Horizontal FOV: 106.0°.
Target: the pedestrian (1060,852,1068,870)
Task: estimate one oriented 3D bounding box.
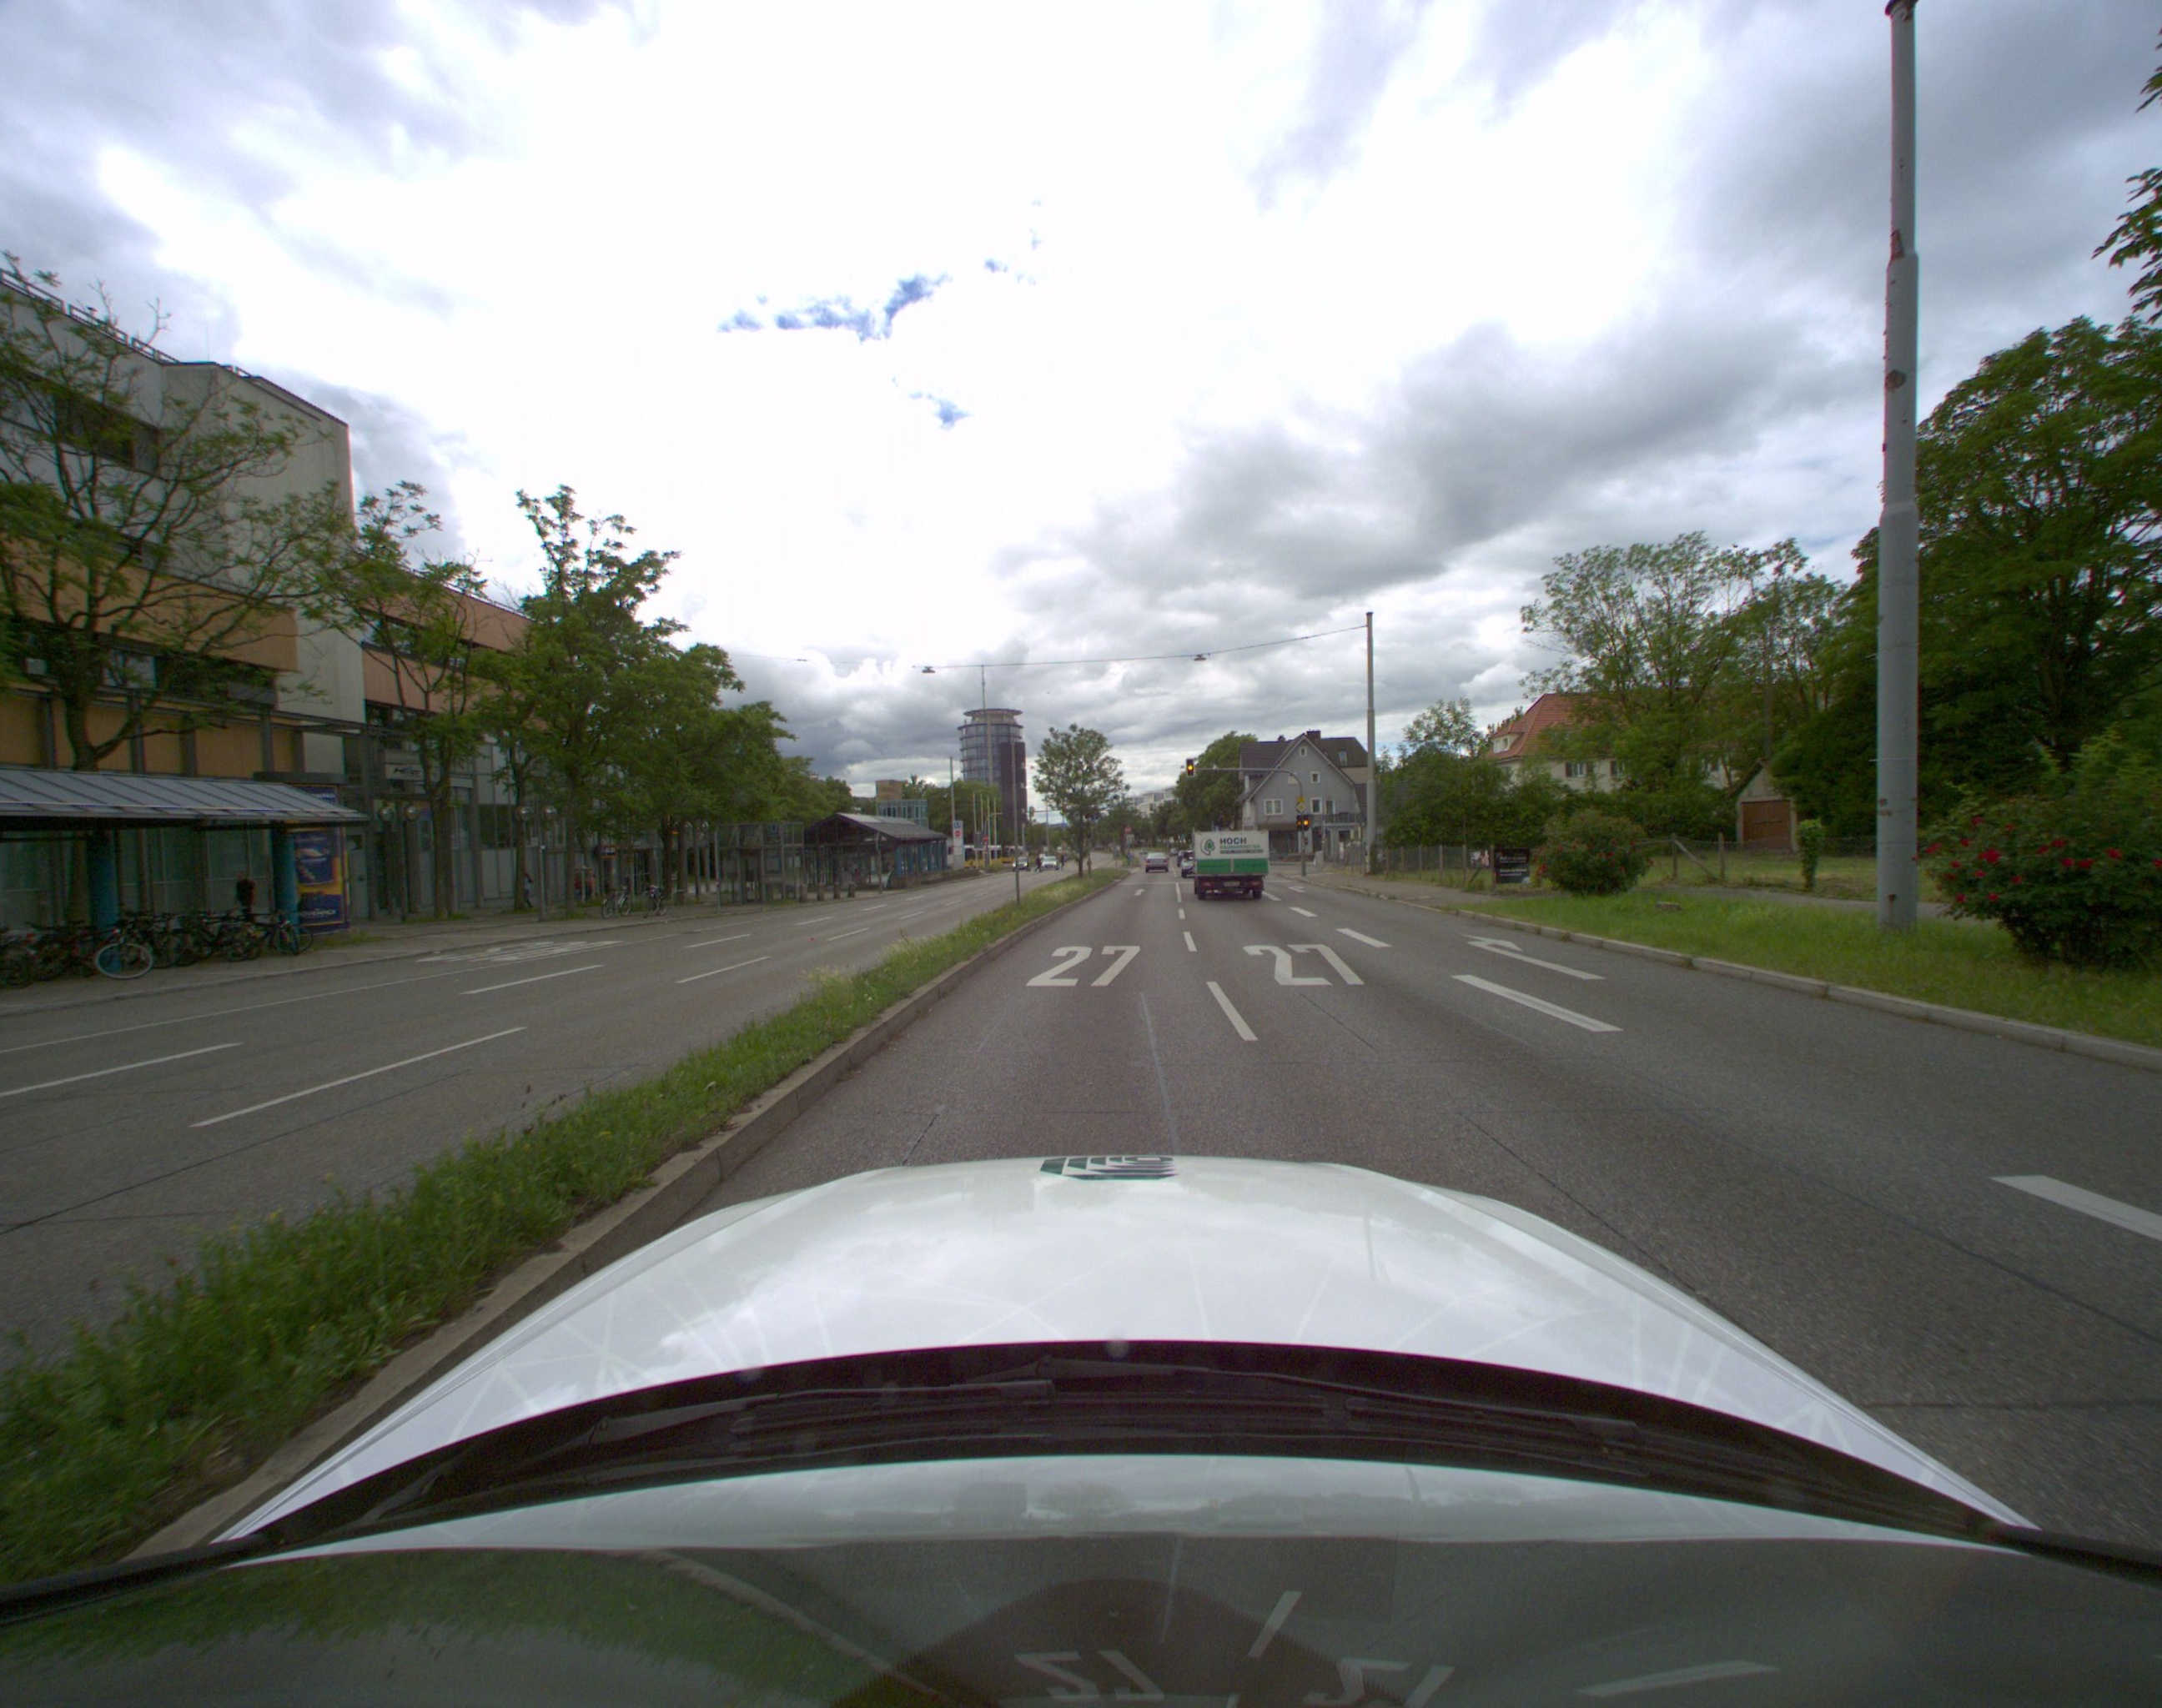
[{"bbox_3d":[-1.647,0.696,78.169,0.743,1.716,0.582,-2,-1,-1],"label":"pedestrian"}]

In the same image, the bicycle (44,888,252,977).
[{"bbox_3d":[-18.001,1.499,15.763,2.892,1.506,0.805,-2,0,-3],"label":"bicycle"}]

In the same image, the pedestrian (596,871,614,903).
[{"bbox_3d":[-24.969,1.722,42.721,0.515,1.589,0.680,-2,0,-2],"label":"pedestrian"}]

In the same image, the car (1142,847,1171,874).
[{"bbox_3d":[5.431,0.468,58.290,1.983,1.830,4.007,0,0,6],"label":"car"}]

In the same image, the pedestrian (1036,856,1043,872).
[{"bbox_3d":[-3.965,0.964,78.488,0.541,1.496,0.487,-2,-1,2],"label":"pedestrian"}]

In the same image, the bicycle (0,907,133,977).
[{"bbox_3d":[-19.201,1.609,14.770,2.892,1.112,0.805,-2,0,-3],"label":"bicycle"}]

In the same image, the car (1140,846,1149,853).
[{"bbox_3d":[15.334,-1.127,197.765,1.985,1.519,4.003,-3,0,3],"label":"car"}]

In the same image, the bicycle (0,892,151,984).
[{"bbox_3d":[-18.117,1.447,14.169,2.890,1.506,0.811,0,0,-1],"label":"bicycle"}]

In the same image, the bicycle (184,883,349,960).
[{"bbox_3d":[-18.074,1.484,18.116,2.892,1.506,0.598,-2,0,-3],"label":"bicycle"}]

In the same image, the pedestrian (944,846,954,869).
[{"bbox_3d":[-11.600,0.319,71.398,0.678,2.013,0.646,-2,-1,2],"label":"pedestrian"}]

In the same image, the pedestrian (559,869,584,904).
[{"bbox_3d":[-24.472,1.557,39.099,0.633,1.586,0.824,-3,0,-4],"label":"pedestrian"}]

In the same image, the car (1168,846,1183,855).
[{"bbox_3d":[17.285,-0.565,148.854,1.989,1.552,3.996,-3,0,-3],"label":"car"}]

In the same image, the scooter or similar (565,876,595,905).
[{"bbox_3d":[-23.257,1.674,37.834,0.477,1.267,1.291,0,0,8],"label":"scooter or similar"}]

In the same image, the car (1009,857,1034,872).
[{"bbox_3d":[-6.398,1.126,87.828,1.984,1.486,4.006,-3,0,5],"label":"car"}]

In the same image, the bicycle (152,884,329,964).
[{"bbox_3d":[-18.074,1.489,17.557,2.892,1.506,0.700,-2,0,-3],"label":"bicycle"}]

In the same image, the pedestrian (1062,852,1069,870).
[{"bbox_3d":[-1.485,0.695,77.596,0.651,1.716,0.452,-2,-1,-1],"label":"pedestrian"}]

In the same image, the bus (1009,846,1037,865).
[{"bbox_3d":[-11.472,0.316,162.814,2.814,3.430,10.764,-3,0,10],"label":"bus"}]

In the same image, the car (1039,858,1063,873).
[{"bbox_3d":[-3.181,1.169,87.142,1.984,1.486,4.006,-3,0,5],"label":"car"}]

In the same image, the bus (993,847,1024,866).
[{"bbox_3d":[-13.417,0.435,152.199,2.814,3.430,10.764,-3,0,10],"label":"bus"}]

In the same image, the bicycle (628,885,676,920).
[{"bbox_3d":[-15.026,1.695,28.603,0.829,1.083,1.931,-2,0,-8],"label":"bicycle"}]

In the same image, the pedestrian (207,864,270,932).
[{"bbox_3d":[-25.959,1.349,25.117,0.893,2.013,0.934,-3,-1,0],"label":"pedestrian"}]

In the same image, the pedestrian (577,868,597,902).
[{"bbox_3d":[-25.729,1.594,42.428,0.563,1.727,0.680,-2,0,-2],"label":"pedestrian"}]

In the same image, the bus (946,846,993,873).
[{"bbox_3d":[-14.957,0.704,110.189,2.814,3.430,10.764,-3,0,10],"label":"bus"}]

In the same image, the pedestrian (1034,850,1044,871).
[{"bbox_3d":[-4.019,0.635,77.826,0.827,2.013,0.546,-2,-1,-1],"label":"pedestrian"}]

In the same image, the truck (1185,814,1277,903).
[{"bbox_3d":[4.864,0.083,27.461,2.459,2.611,6.558,-1,1,5],"label":"truck"}]

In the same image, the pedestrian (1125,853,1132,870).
[{"bbox_3d":[4.721,0.733,80.780,0.581,1.716,0.546,-2,-1,-1],"label":"pedestrian"}]

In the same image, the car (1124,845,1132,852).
[{"bbox_3d":[12.277,-1.428,211.833,1.985,1.519,4.003,-3,0,3],"label":"car"}]

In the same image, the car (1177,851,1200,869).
[{"bbox_3d":[9.748,0.514,74.016,1.983,1.552,4.007,-1,0,6],"label":"car"}]

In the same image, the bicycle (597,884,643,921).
[{"bbox_3d":[-16.135,1.686,28.552,0.713,1.136,1.951,-2,0,-9],"label":"bicycle"}]

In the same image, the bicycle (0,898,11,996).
[{"bbox_3d":[-18.101,1.456,12.121,2.892,1.506,0.971,-1,0,-3],"label":"bicycle"}]

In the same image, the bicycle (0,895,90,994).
[{"bbox_3d":[-18.098,1.444,13.177,2.892,1.506,0.890,0,0,-3],"label":"bicycle"}]

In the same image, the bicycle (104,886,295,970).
[{"bbox_3d":[-18.043,1.492,16.721,2.892,1.506,0.778,-2,0,-3],"label":"bicycle"}]

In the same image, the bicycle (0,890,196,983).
[{"bbox_3d":[-18.365,1.508,15.071,2.892,1.506,0.805,-2,0,-3],"label":"bicycle"}]

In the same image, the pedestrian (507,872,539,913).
[{"bbox_3d":[-23.869,1.632,34.879,0.768,1.716,0.886,0,0,-3],"label":"pedestrian"}]

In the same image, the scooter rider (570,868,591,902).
[{"bbox_3d":[-23.256,1.436,37.855,0.522,1.545,0.708,0,0,8],"label":"scooter rider"}]
